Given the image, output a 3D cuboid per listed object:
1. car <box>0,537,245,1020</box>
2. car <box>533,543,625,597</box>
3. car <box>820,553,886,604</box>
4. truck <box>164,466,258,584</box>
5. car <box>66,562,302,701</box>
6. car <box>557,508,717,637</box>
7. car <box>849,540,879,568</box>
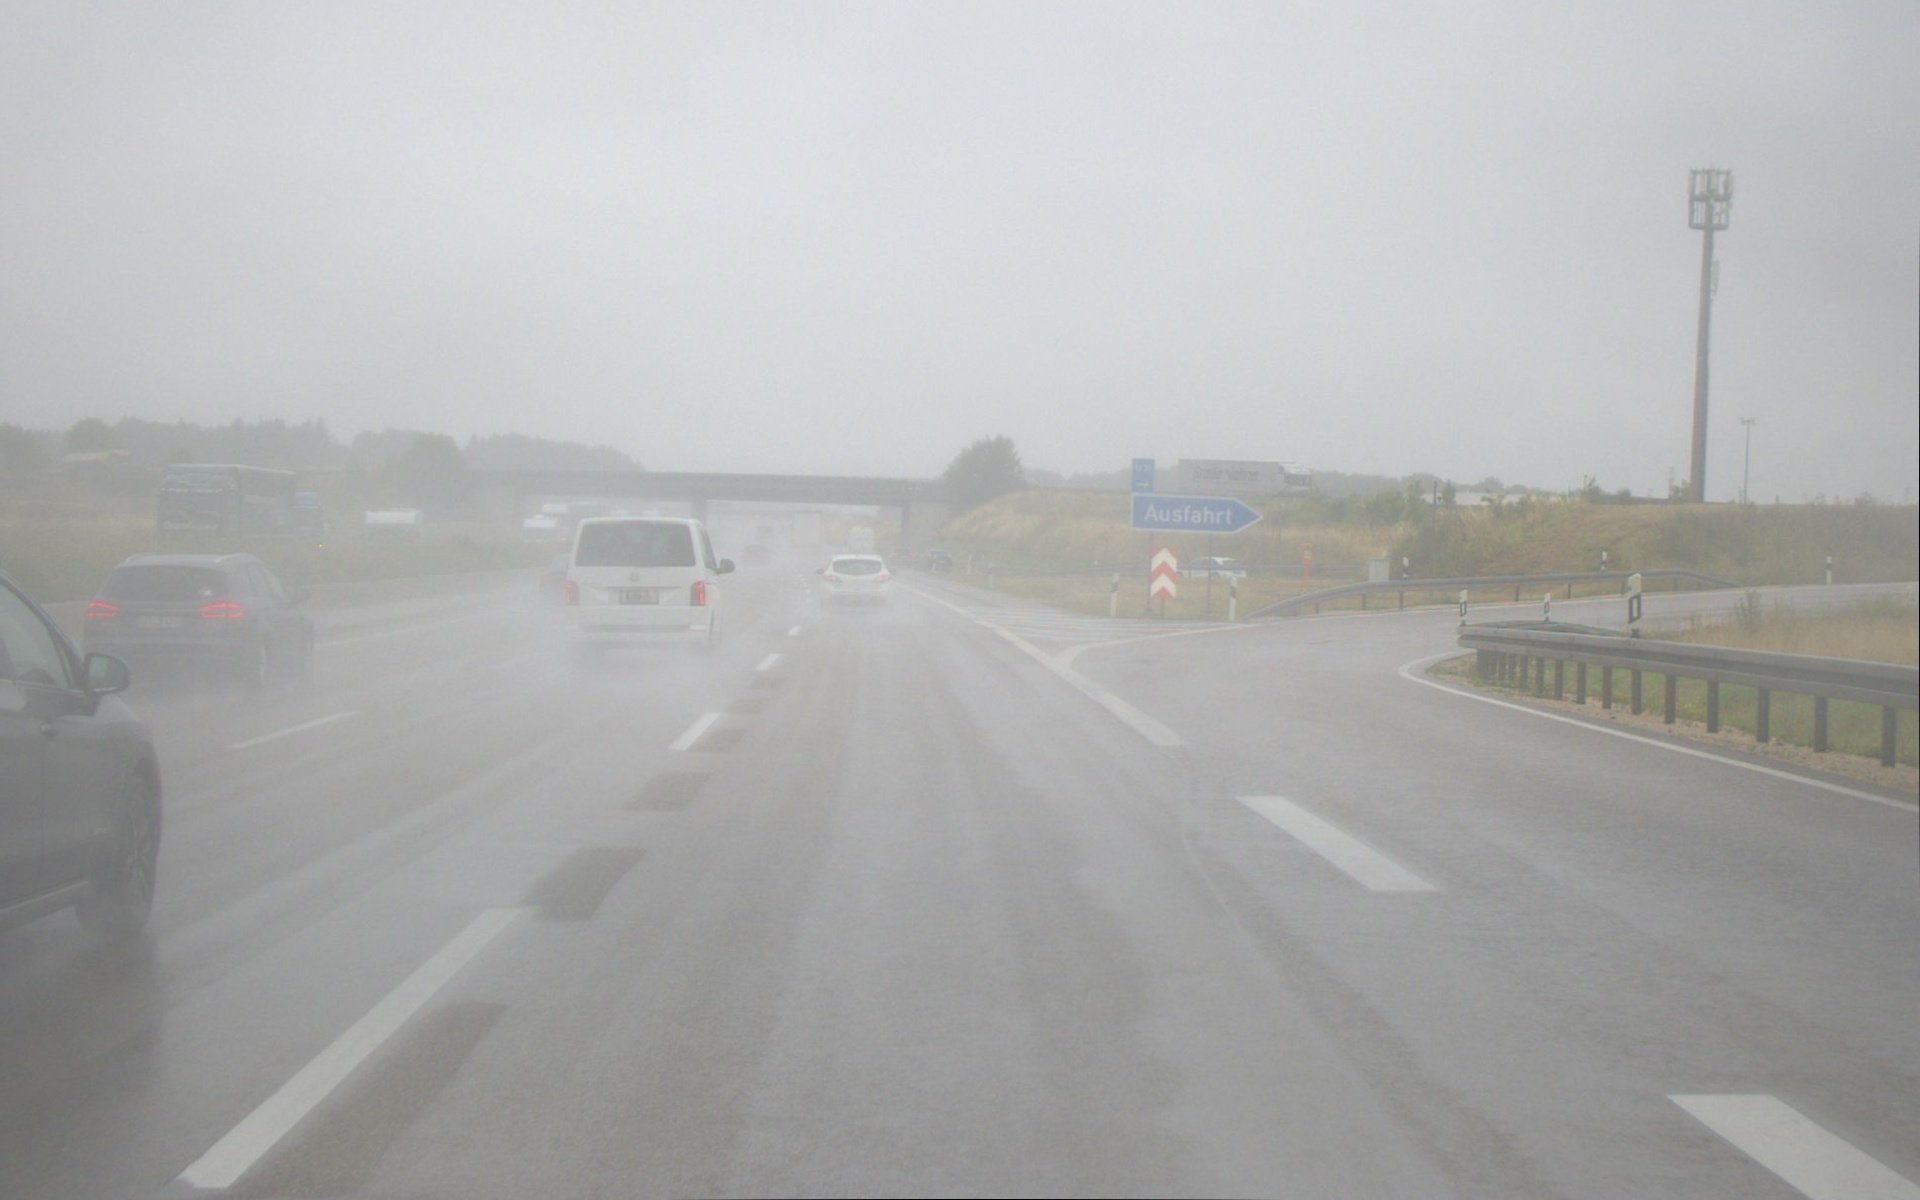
[{"bbox_3d":[-3.931,0.525,12.190,1.846,1.508,4.757,1,1,-1],"label":"car"},{"bbox_3d":[-9.072,-0.709,82.086,1.468,1.253,3.339,1,0,6],"label":"car"},{"bbox_3d":[-2.593,-0.532,83.661,1.468,1.204,2.991,1,1,1],"label":"car"},{"bbox_3d":[-25.983,-2.584,119.438,2.213,3.970,5.185,1,1,-2],"label":"truck"},{"bbox_3d":[-8.111,0.292,36.232,1.612,1.349,4.000,1,1,-1],"label":"car"},{"bbox_3d":[-4.209,-0.365,45.266,1.897,1.580,4.000,1,0,-3],"label":"car"},{"bbox_3d":[-7.293,-3.488,261.541,1.993,2.094,4.001,1,1,-6],"label":"car"}]
